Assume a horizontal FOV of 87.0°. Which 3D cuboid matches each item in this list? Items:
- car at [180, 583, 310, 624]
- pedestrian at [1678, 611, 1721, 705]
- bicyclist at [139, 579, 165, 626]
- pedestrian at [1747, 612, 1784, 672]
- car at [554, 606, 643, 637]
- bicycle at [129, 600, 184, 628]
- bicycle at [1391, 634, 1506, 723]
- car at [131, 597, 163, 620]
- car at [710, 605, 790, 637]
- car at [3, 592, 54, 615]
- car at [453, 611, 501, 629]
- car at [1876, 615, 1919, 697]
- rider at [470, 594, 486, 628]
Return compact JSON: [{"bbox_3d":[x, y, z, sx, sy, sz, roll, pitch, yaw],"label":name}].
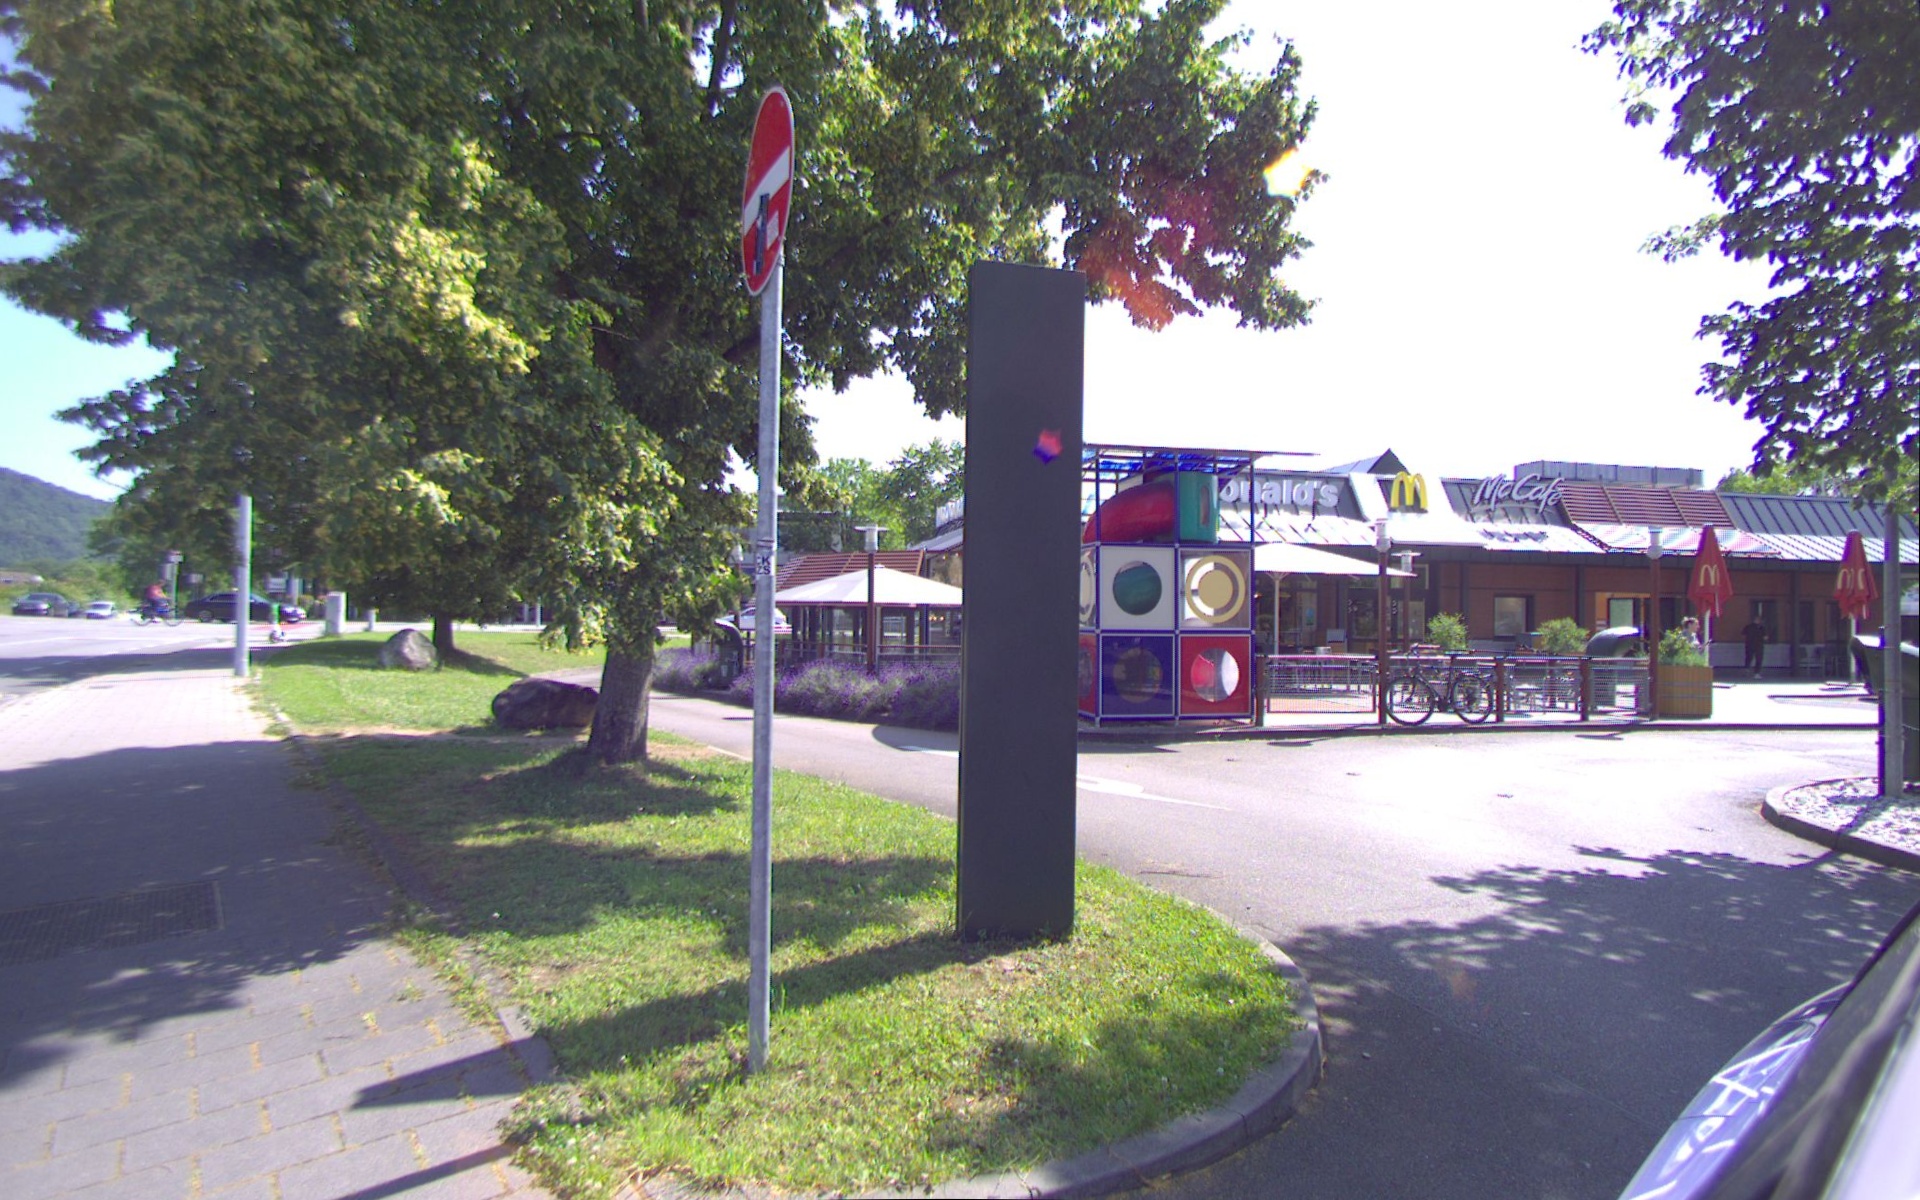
[{"bbox_3d":[-33.152,0.177,47.031,4.519,1.776,1.888,1,-1,-11],"label":"car"},{"bbox_3d":[12.897,0.998,17.654,0.594,1.587,0.564,0,-1,38],"label":"pedestrian"},{"bbox_3d":[-33.216,0.100,41.622,0.643,1.919,0.554,2,1,-11],"label":"bicyclist"},{"bbox_3d":[22.641,1.172,28.466,0.610,1.672,0.543,1,-1,-11],"label":"pedestrian"},{"bbox_3d":[-19.461,1.157,54.674,4.279,1.509,1.836,1,2,-11],"label":"car"},{"bbox_3d":[-33.058,0.577,41.658,1.690,1.056,0.584,2,2,-10],"label":"bicycle"},{"bbox_3d":[7.018,1.120,14.540,1.579,1.201,0.310,-1,2,-8],"label":"bicycle"},{"bbox_3d":[-55.702,0.566,69.290,1.582,1.555,3.677,2,-1,-40],"label":"car"},{"bbox_3d":[-11.733,1.168,56.609,4.279,1.646,1.836,1,2,-11],"label":"car"},{"bbox_3d":[-55.753,0.201,60.631,1.579,1.271,3.684,2,-1,-32],"label":"car"},{"bbox_3d":[-26.643,1.103,55.886,2.333,0.913,0.577,1,2,-12],"label":"car"},{"bbox_3d":[21.668,1.204,20.887,3.982,1.678,1.927,1,-1,40],"label":"car"},{"bbox_3d":[-26.623,0.616,55.869,0.671,1.835,0.549,1,2,-12],"label":"rider"}]
